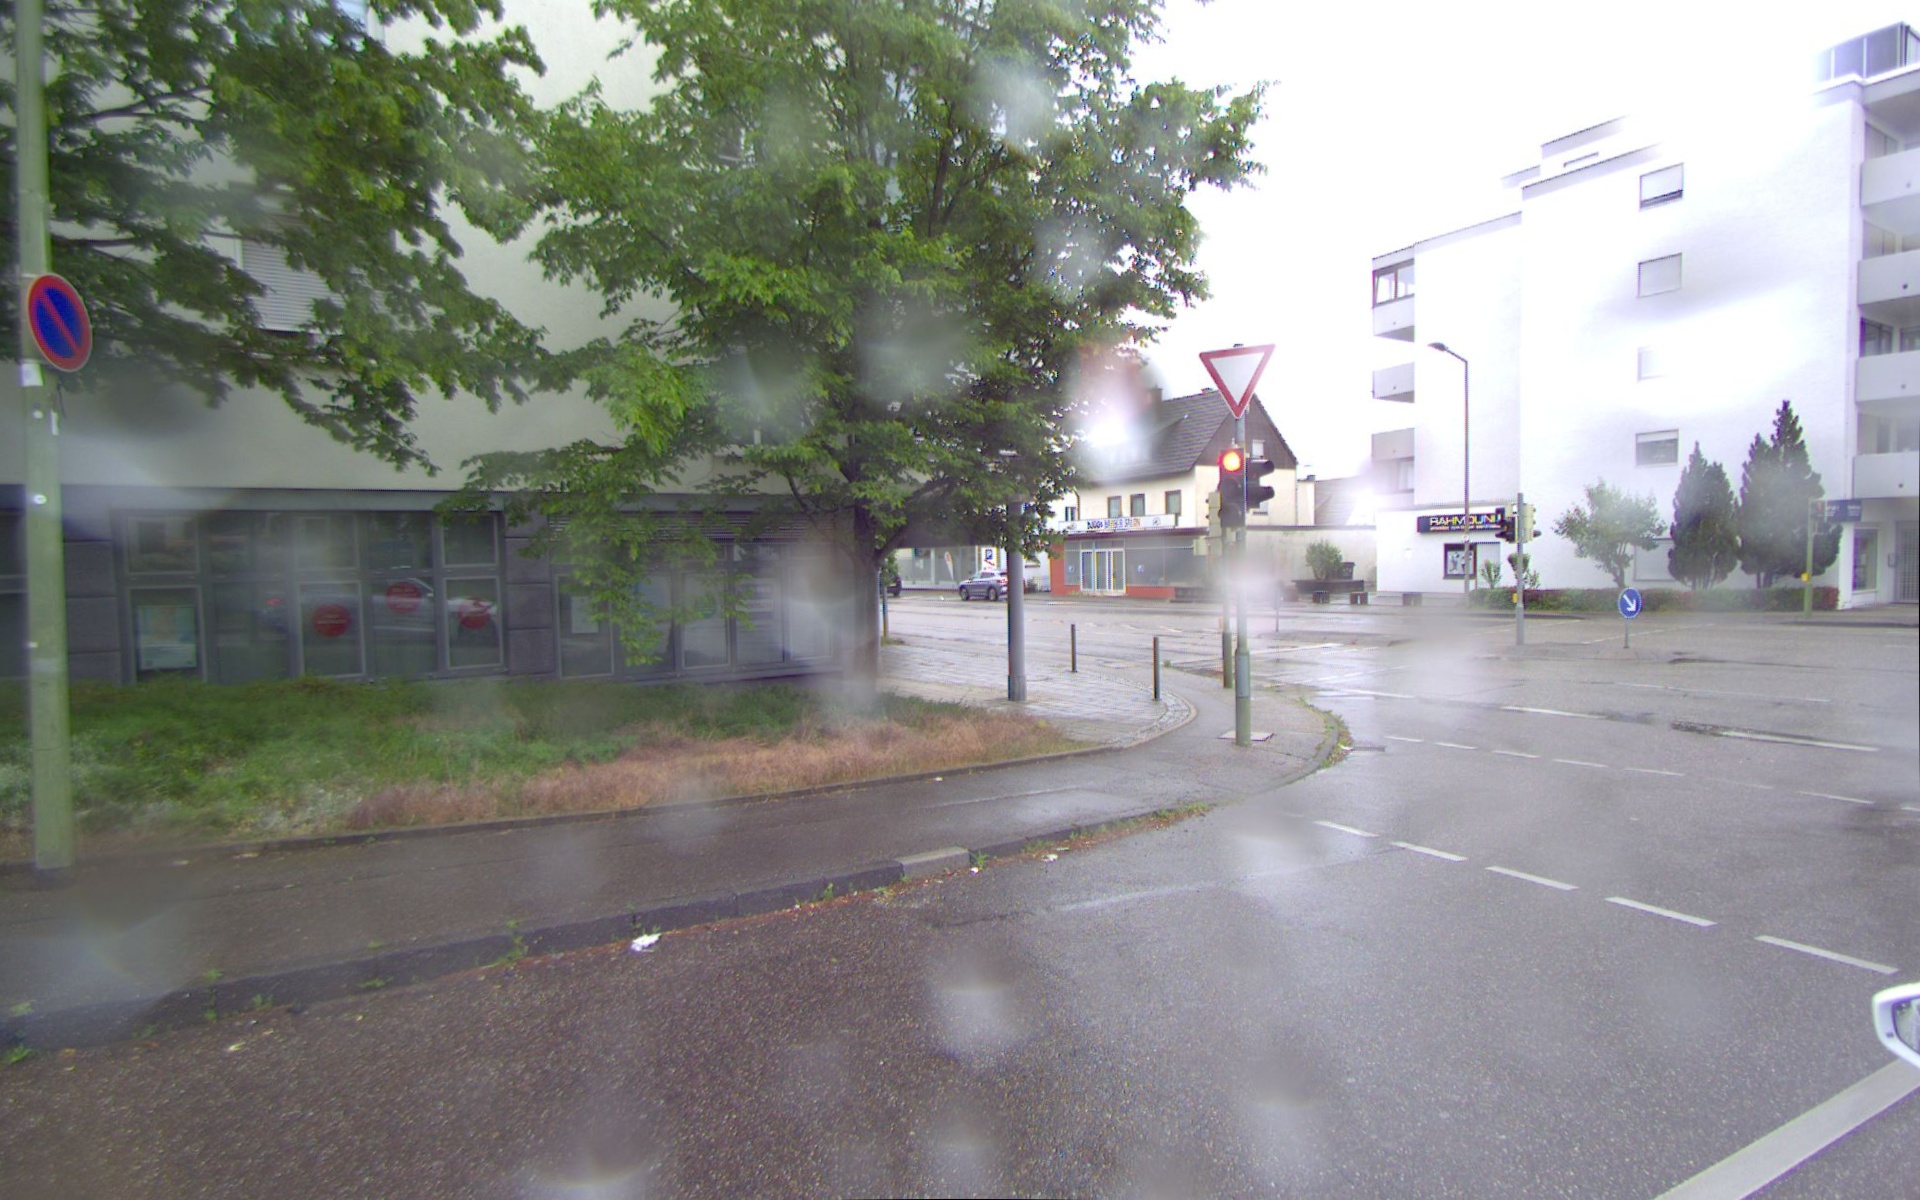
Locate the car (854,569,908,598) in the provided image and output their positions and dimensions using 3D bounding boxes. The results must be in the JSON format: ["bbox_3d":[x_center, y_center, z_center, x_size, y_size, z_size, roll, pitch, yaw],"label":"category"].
[{"bbox_3d":[-5.257,-1.133,66.537,2.087,1.719,3.968,-1,4,-30],"label":"car"}]

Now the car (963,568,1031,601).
[{"bbox_3d":[2.011,-0.881,55.907,1.976,1.718,3.968,-1,3,-30],"label":"car"}]
